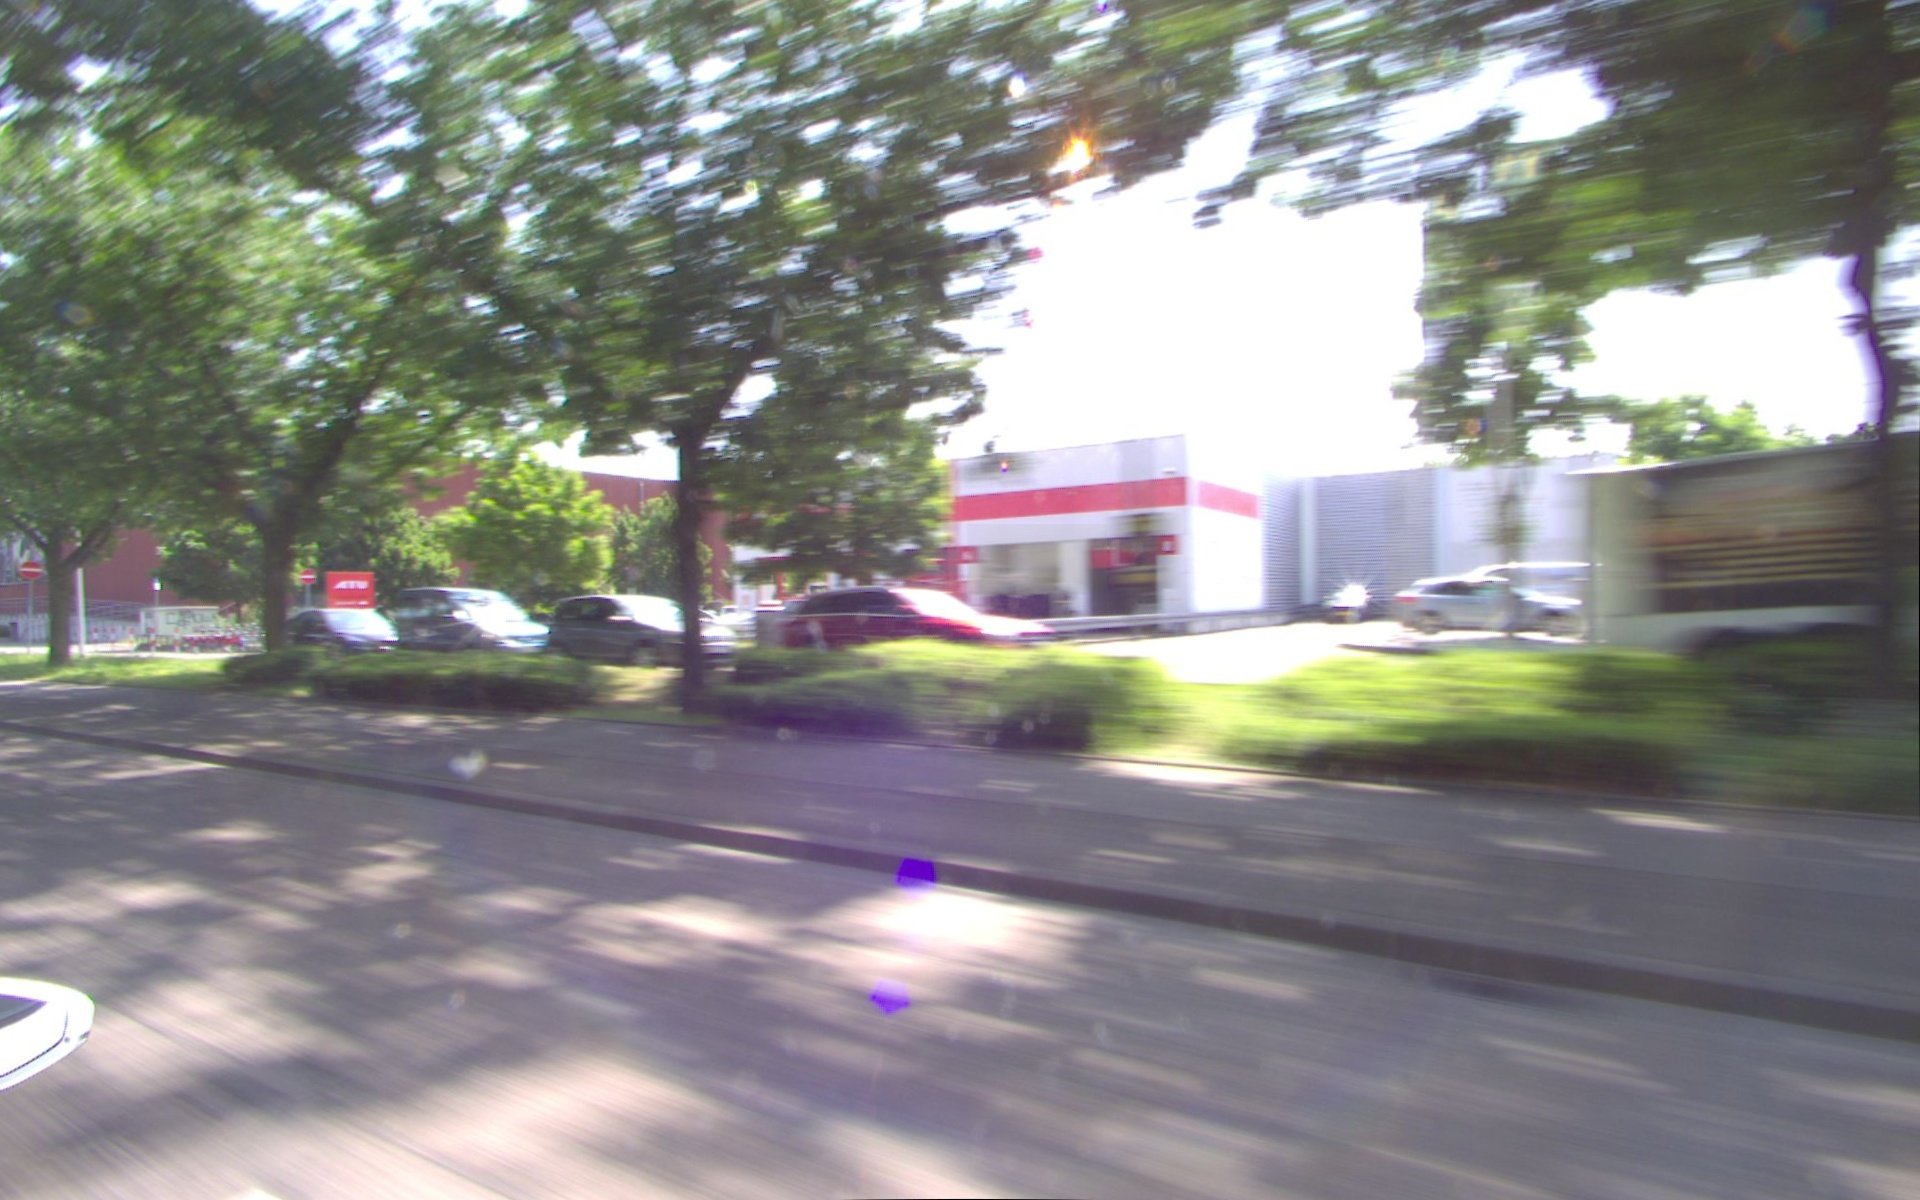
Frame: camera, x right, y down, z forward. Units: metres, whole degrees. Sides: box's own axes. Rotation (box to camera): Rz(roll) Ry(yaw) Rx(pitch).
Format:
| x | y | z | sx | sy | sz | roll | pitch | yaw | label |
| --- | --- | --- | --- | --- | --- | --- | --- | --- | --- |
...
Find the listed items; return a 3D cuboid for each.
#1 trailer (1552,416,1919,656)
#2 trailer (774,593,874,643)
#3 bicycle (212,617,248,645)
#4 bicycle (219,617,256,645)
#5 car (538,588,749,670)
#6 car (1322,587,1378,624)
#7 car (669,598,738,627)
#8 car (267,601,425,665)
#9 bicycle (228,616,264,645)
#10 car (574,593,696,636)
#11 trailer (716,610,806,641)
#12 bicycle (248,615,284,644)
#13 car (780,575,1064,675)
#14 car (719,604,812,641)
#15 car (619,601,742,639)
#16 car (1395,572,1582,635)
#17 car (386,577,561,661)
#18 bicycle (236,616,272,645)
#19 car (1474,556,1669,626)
| x | y | z | sx | sy | sz | roll | pitch | yaw | label |
| --- | --- | --- | --- | --- | --- | --- | --- | --- | --- |
| 8.761 | -0.552 | 9.408 | 5.410 | 2.082 | 1.695 | -1 | 0 | 35 | trailer |
| -4.688 | 0.594 | 34.822 | 1.393 | 1.603 | 3.594 | 0 | 1 | 34 | trailer |
| -29.412 | 1.246 | 40.343 | 0.401 | 1.099 | 1.086 | 0 | 1 | 33 | bicycle |
| -28.851 | 1.228 | 39.988 | 0.401 | 1.099 | 1.086 | 0 | 1 | 33 | bicycle |
| -5.975 | 0.521 | 18.808 | 3.849 | 1.398 | 1.697 | -1 | 0 | 32 | car |
| 17.845 | 0.239 | 45.712 | 1.819 | 1.595 | 3.981 | -1 | 1 | 29 | car |
| -15.245 | 0.744 | 59.423 | 3.943 | 1.641 | 1.706 | -1 | 1 | 33 | car |
| -15.196 | 0.807 | 24.697 | 4.593 | 1.443 | 1.695 | -2 | -1 | 36 | car |
| -28.282 | 1.211 | 39.656 | 0.342 | 1.099 | 1.086 | 0 | 1 | 33 | bicycle |
| -11.781 | 0.506 | 36.523 | 1.914 | 1.461 | 3.980 | -1 | 1 | 31 | car |
| -6.309 | 0.817 | 31.954 | 1.361 | 0.922 | 2.708 | -1 | -2 | 32 | trailer |
| -27.023 | 1.135 | 38.977 | 0.342 | 1.099 | 1.086 | 0 | 1 | 33 | bicycle |
| -0.658 | 0.372 | 15.771 | 4.262 | 1.398 | 1.697 | -1 | 0 | 32 | car |
| -6.869 | 0.829 | 35.617 | 1.505 | 1.223 | 3.120 | -1 | -3 | 33 | car |
| -9.799 | 0.704 | 35.384 | 1.882 | 1.237 | 3.979 | -2 | -1 | 32 | car |
| 12.215 | 0.092 | 23.206 | 3.723 | 1.357 | 1.579 | -1 | 0 | 33 | car |
| -10.571 | 0.429 | 21.679 | 3.852 | 1.659 | 1.696 | -2 | -1 | 34 | car |
| -27.621 | 1.189 | 39.168 | 0.342 | 1.099 | 1.086 | 0 | 1 | 33 | bicycle |
| 17.100 | -0.226 | 28.187 | 4.565 | 1.829 | 1.706 | -1 | 1 | 32 | car |
